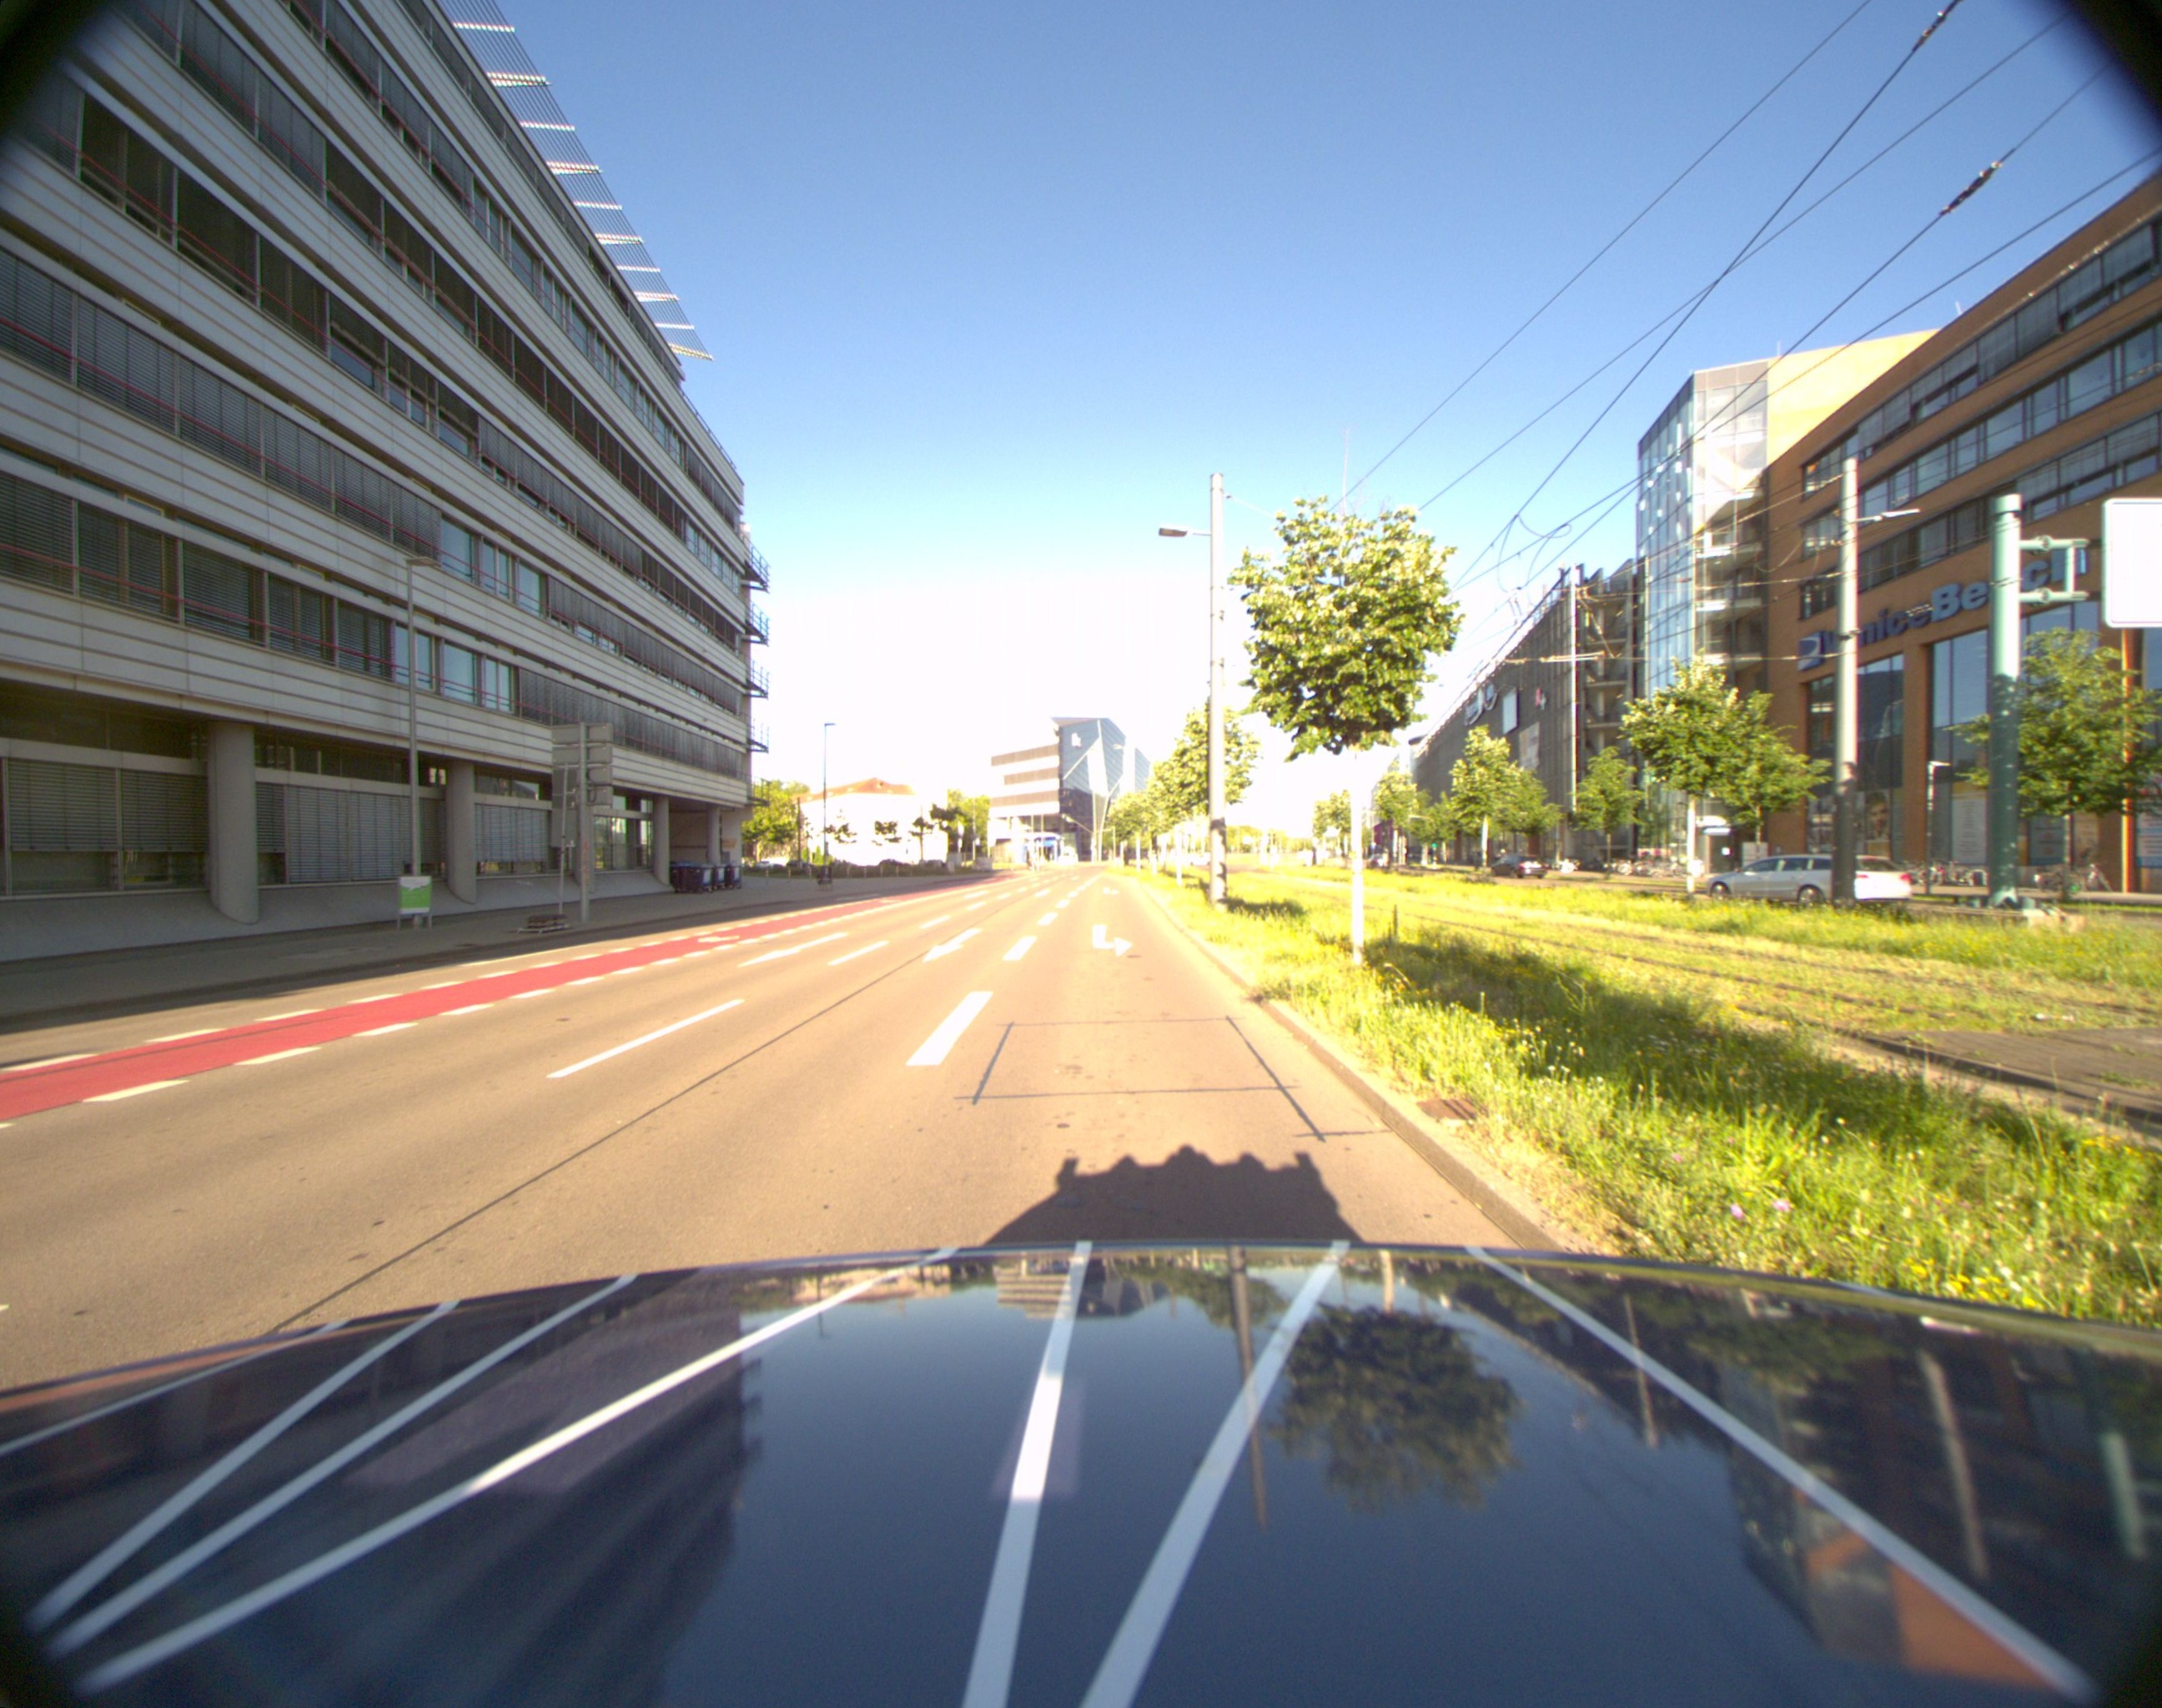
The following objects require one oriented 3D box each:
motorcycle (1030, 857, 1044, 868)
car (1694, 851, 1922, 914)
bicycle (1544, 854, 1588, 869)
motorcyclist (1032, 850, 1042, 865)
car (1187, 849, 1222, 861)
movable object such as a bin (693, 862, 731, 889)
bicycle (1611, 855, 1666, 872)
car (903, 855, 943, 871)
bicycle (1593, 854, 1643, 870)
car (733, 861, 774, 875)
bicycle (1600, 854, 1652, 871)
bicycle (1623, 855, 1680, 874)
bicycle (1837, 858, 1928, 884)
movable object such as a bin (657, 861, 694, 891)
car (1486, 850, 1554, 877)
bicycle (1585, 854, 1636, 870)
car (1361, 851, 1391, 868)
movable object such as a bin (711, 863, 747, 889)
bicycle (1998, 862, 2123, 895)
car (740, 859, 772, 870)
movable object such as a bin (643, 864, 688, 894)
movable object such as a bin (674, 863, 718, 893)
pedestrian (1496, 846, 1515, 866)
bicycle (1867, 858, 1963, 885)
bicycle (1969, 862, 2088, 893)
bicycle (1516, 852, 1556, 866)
[{"bbox_3d":[-5.373,1.024,93.186,0.823,1.214,2.250,0,1,-27],"label":"motorcycle"},{"bbox_3d":[19.664,0.678,20.931,1.626,1.519,4.802,-1,0,-1],"label":"car"},{"bbox_3d":[36.847,0.545,57.717,2.687,1.097,0.897,0,0,11],"label":"bicycle"},{"bbox_3d":[-5.459,0.475,93.347,0.823,1.846,1.110,0,1,-27],"label":"motorcyclist"},{"bbox_3d":[16.144,0.162,99.717,4.342,1.519,1.682,1,1,43],"label":"car"},{"bbox_3d":[-17.957,1.041,37.042,1.173,1.293,1.329,-1,1,1],"label":"movable object such as a bin"},{"bbox_3d":[35.592,0.602,48.566,2.687,1.097,0.897,0,0,11],"label":"bicycle"},{"bbox_3d":[-15.418,0.864,73.993,3.790,1.523,1.744,0,1,37],"label":"car"},{"bbox_3d":[36.197,0.549,51.238,2.687,1.097,0.826,0,0,11],"label":"bicycle"},{"bbox_3d":[-36.446,1.546,84.615,3.794,1.523,1.742,0,1,13],"label":"car"},{"bbox_3d":[36.039,0.566,50.263,2.687,1.097,0.897,0,0,11],"label":"bicycle"},{"bbox_3d":[35.055,0.643,46.693,2.687,1.097,0.897,0,0,11],"label":"bicycle"},{"bbox_3d":[34.575,0.722,32.806,2.687,1.097,0.897,0,0,11],"label":"bicycle"},{"bbox_3d":[-19.091,1.013,35.825,1.109,1.366,1.108,-1,1,1],"label":"movable object such as a bin"},{"bbox_3d":[26.365,0.549,45.814,1.626,1.519,4.355,0,0,1],"label":"car"},{"bbox_3d":[36.317,0.539,52.148,2.687,1.097,0.897,0,0,11],"label":"bicycle"},{"bbox_3d":[28.402,0.494,73.289,1.625,1.519,4.357,0,0,6],"label":"car"},{"bbox_3d":[-17.774,1.102,38.387,1.173,1.293,1.329,-1,1,1],"label":"movable object such as a bin"},{"bbox_3d":[33.288,0.818,25.864,2.687,1.097,0.897,0,0,11],"label":"bicycle"},{"bbox_3d":[-44.809,1.440,104.745,3.804,1.523,1.737,-1,1,-17],"label":"car"},{"bbox_3d":[-18.520,1.101,33.895,1.328,1.294,1.174,-1,1,1],"label":"movable object such as a bin"},{"bbox_3d":[-17.157,1.051,33.851,1.328,1.294,1.174,-1,1,1],"label":"movable object such as a bin"},{"bbox_3d":[37.605,0.170,67.304,1.072,1.671,1.095,-1,1,-6],"label":"pedestrian"},{"bbox_3d":[34.502,0.739,31.467,2.687,1.097,0.897,0,0,11],"label":"bicycle"},{"bbox_3d":[33.487,0.825,26.893,2.687,1.097,0.897,0,0,11],"label":"bicycle"},{"bbox_3d":[37.918,0.400,63.355,2.687,1.182,0.897,0,0,11],"label":"bicycle"}]
